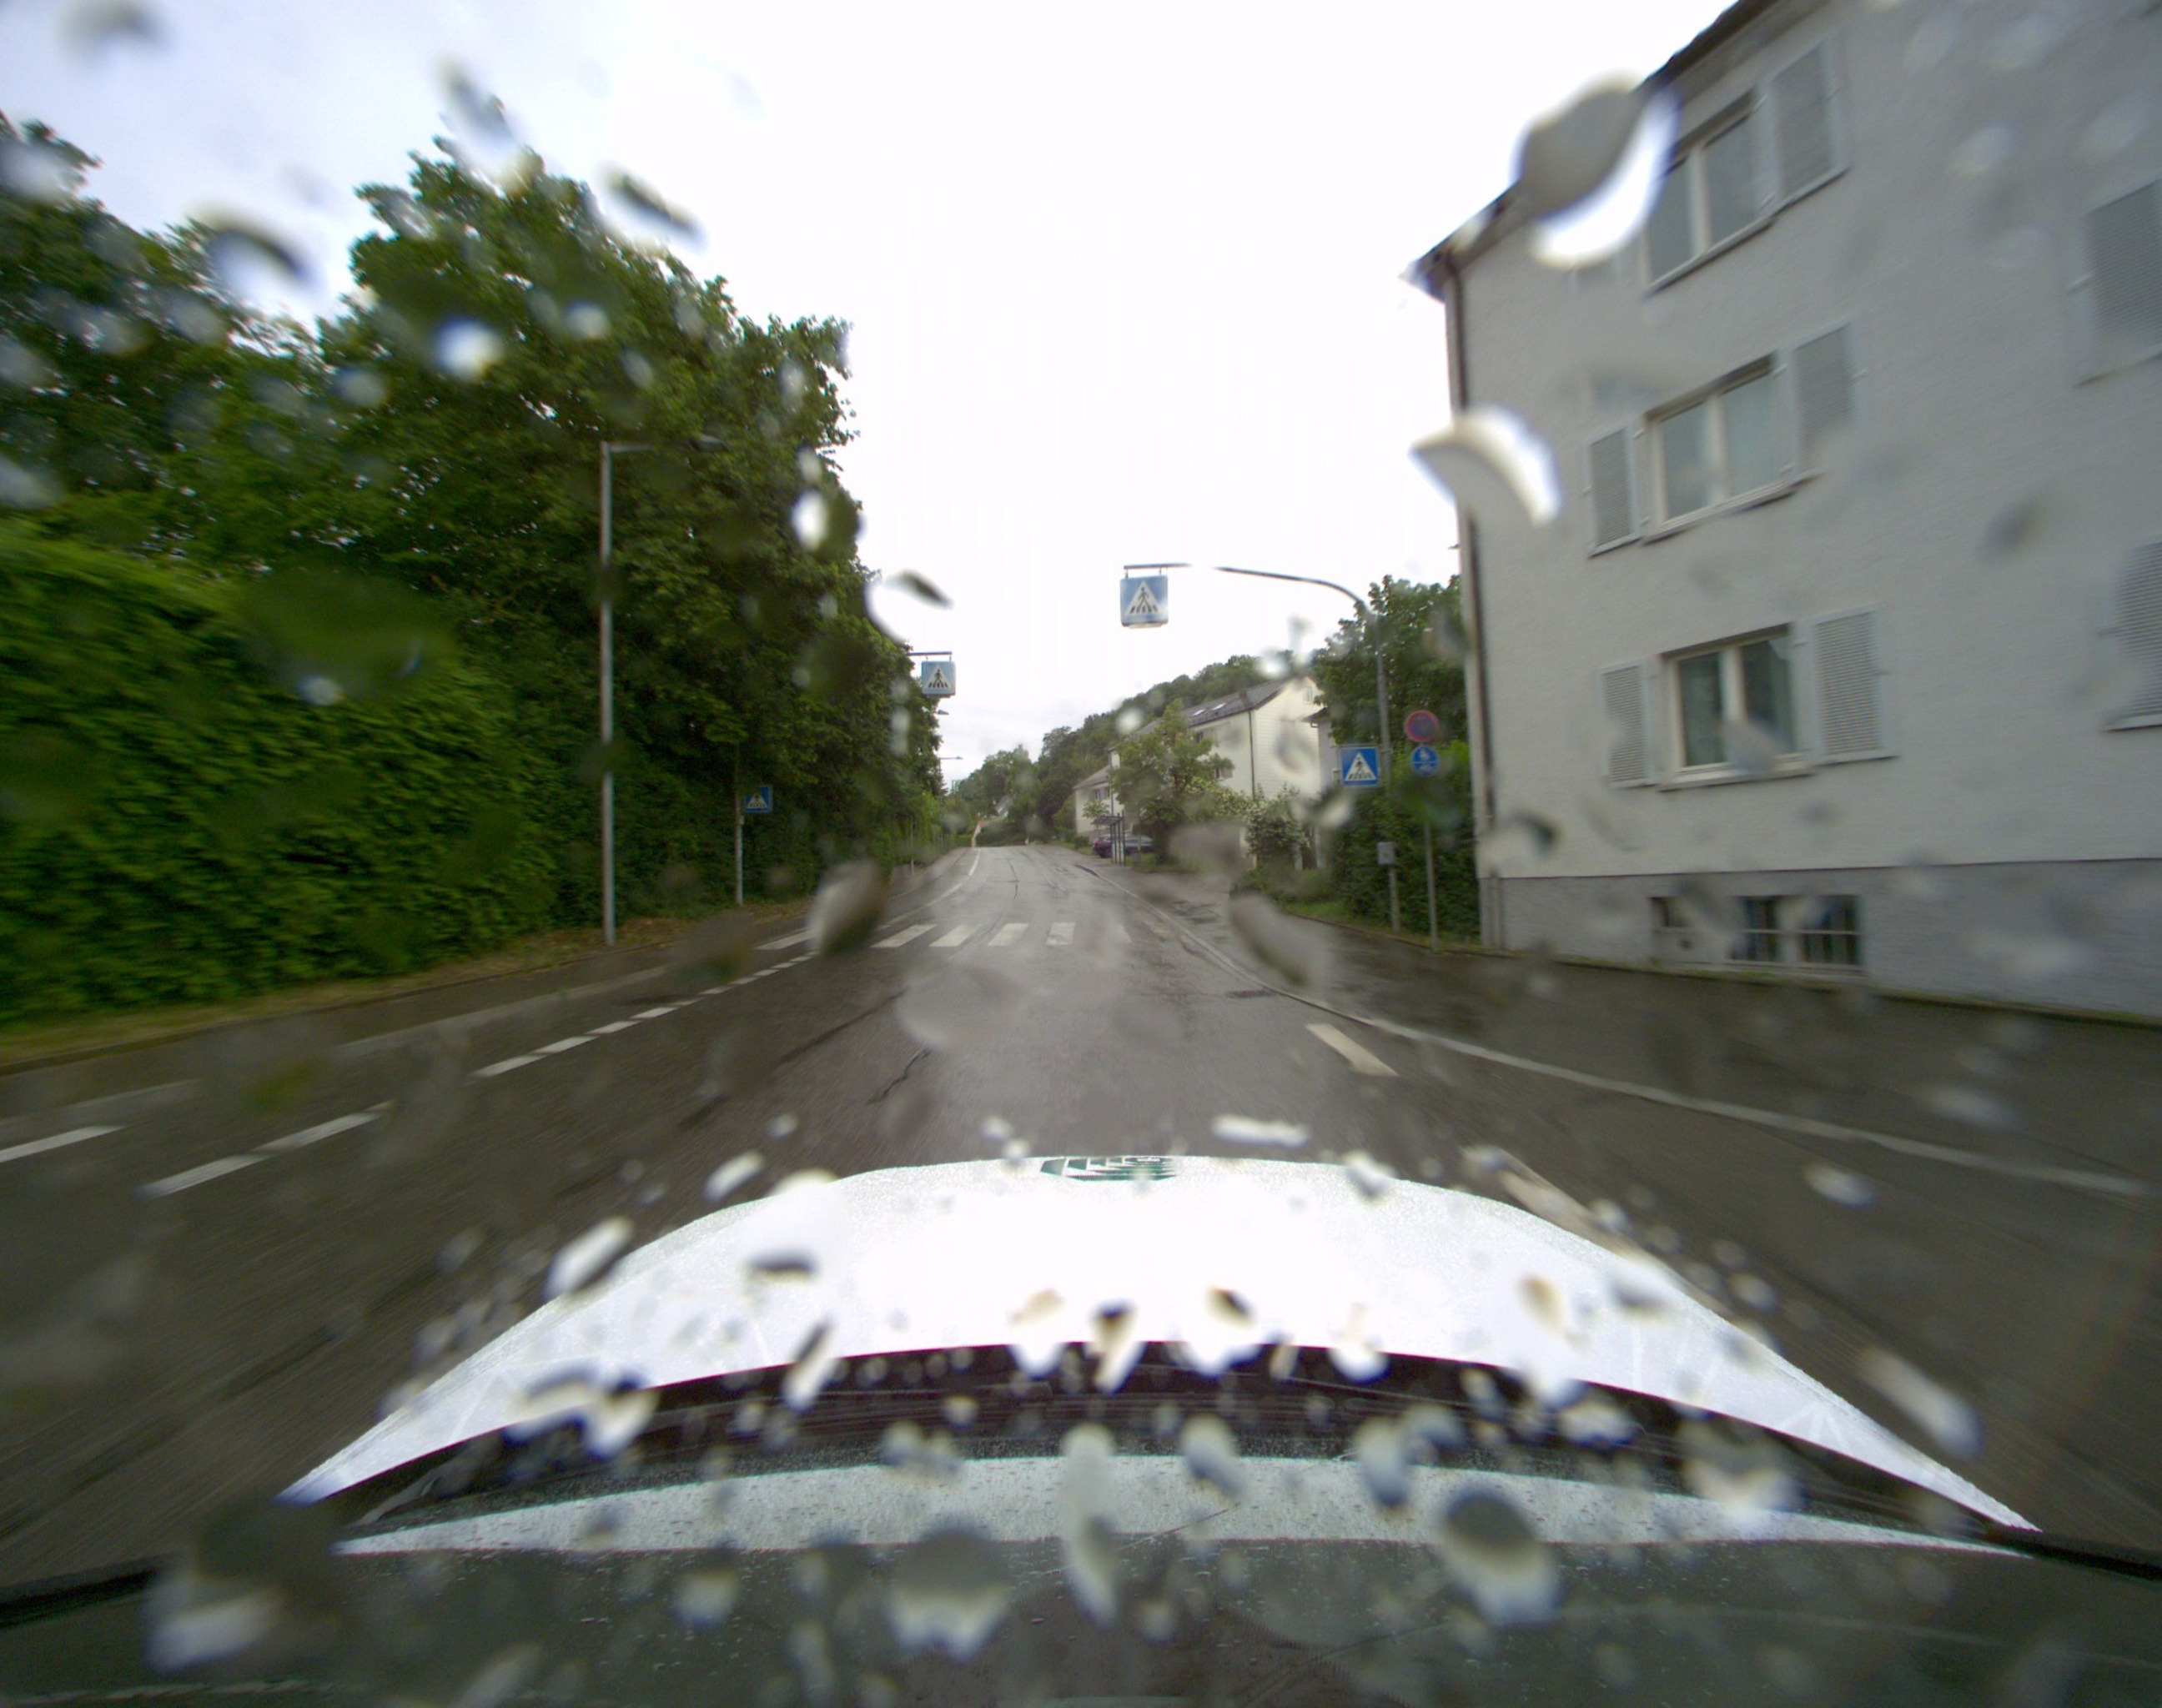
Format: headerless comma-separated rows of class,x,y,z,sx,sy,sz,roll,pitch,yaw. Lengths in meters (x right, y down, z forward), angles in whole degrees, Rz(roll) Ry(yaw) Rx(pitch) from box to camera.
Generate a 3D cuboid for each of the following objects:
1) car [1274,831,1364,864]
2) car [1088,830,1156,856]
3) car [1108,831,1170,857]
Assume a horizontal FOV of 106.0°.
car,11.322,-0.281,38.932,3.695,1.431,1.792,-2,-2,-6
car,2.910,-0.817,58.342,4.531,1.660,1.848,-3,3,-13
car,3.742,-0.667,53.252,3.741,1.458,1.720,-3,3,-8
